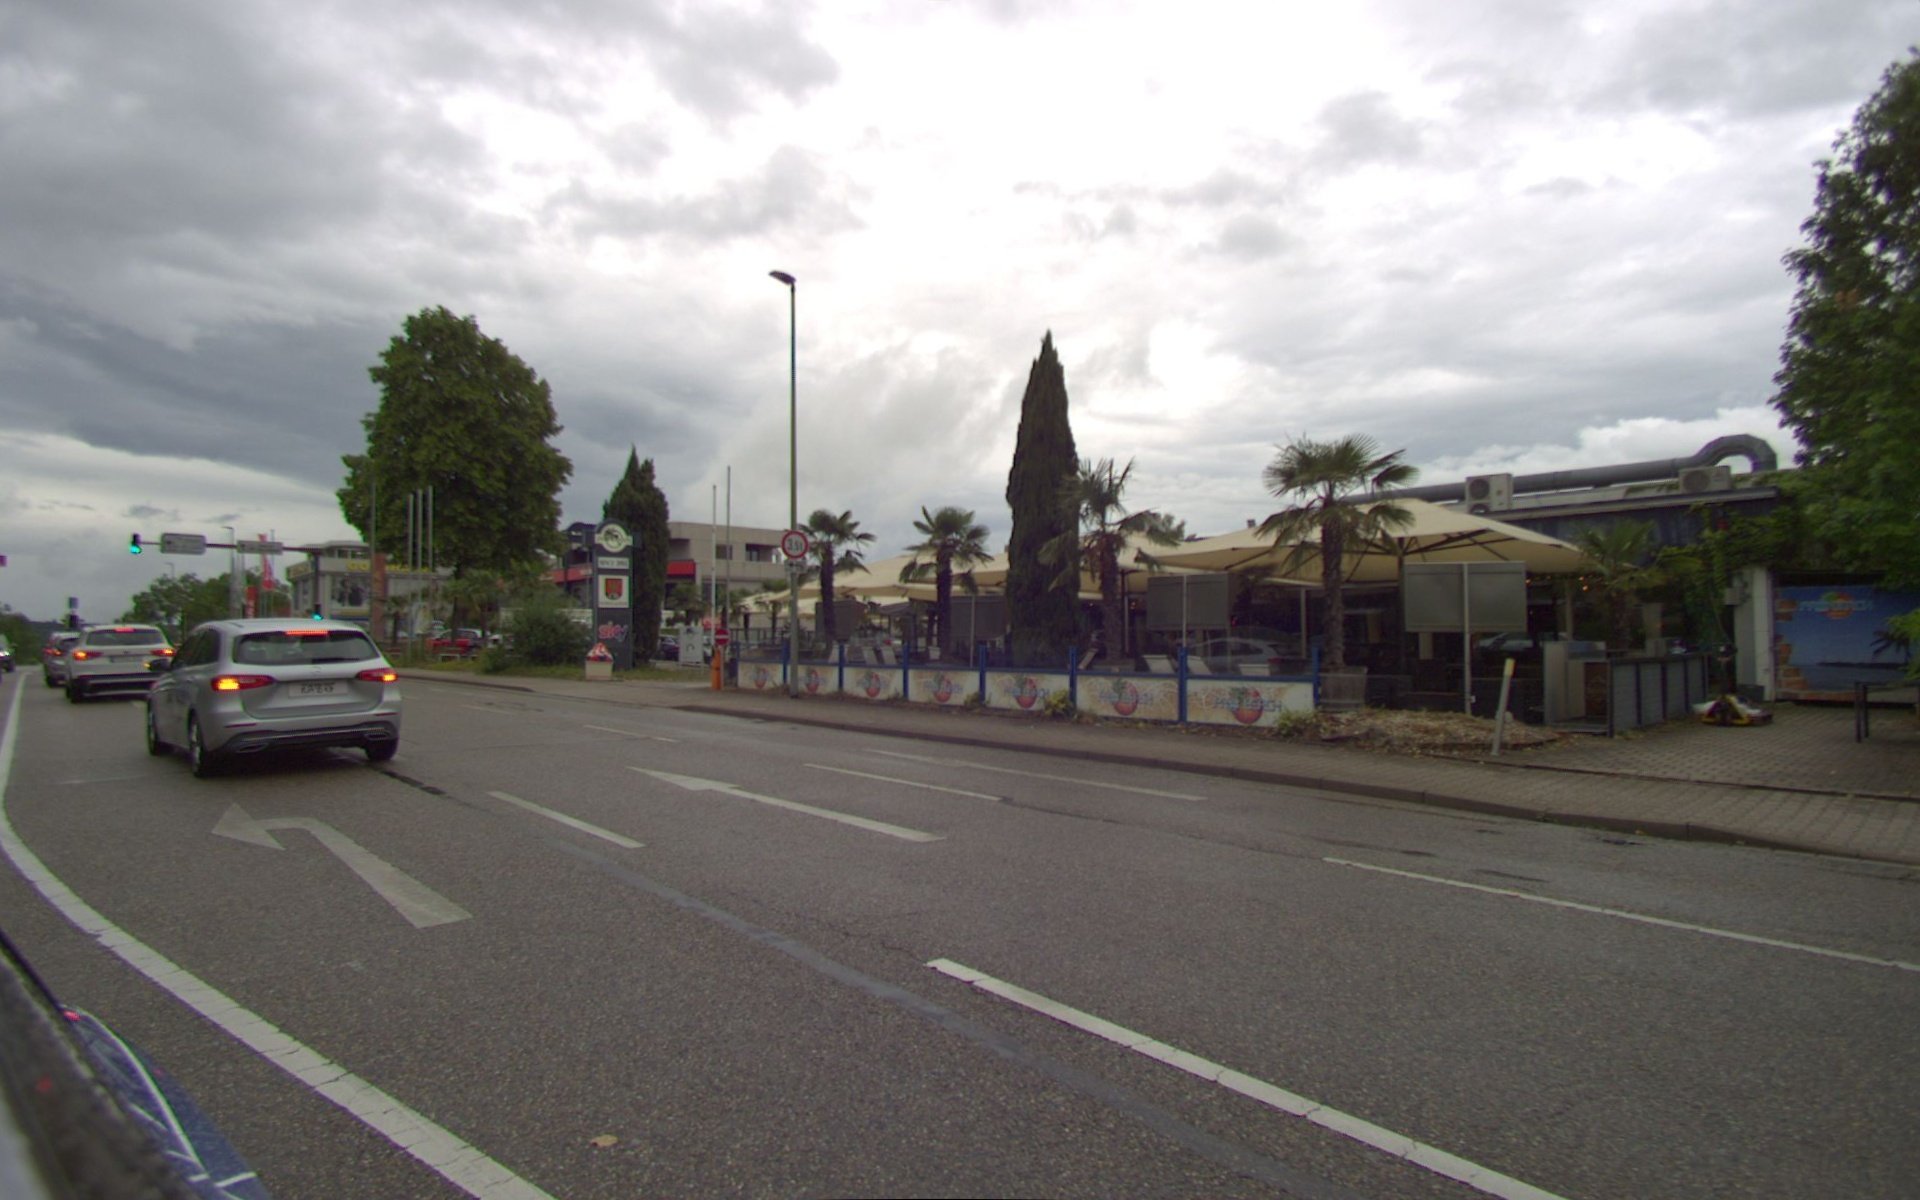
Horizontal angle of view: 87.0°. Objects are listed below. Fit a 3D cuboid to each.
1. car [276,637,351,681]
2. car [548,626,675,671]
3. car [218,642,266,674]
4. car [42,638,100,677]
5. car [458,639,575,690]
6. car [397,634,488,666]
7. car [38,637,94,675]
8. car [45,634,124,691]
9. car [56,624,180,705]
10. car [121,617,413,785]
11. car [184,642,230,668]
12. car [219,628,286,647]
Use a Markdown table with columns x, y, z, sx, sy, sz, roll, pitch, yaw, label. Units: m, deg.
| x | y | z | sx | sy | sz | roll | pitch | yaw | label |
| --- | --- | --- | --- | --- | --- | --- | --- | --- | --- |
| -23.683 | 2.145 | 37.025 | 1.617 | 1.545 | 3.976 | 4 | -4 | -42 | car |
| -12.774 | 1.817 | 37.371 | 1.988 | 1.475 | 4.332 | 1 | -3 | 24 | car |
| -34.711 | 2.771 | 48.864 | 1.616 | 1.489 | 4.052 | 2 | -3 | -39 | car |
| -34.759 | 2.196 | 39.543 | 1.612 | 1.445 | 4.149 | 2 | -3 | -42 | car |
| -18.427 | 2.701 | 42.265 | 1.985 | 2.029 | 4.370 | -1 | -4 | 20 | car |
| -24.781 | 2.405 | 48.588 | 3.558 | 1.515 | 1.669 | 1 | -2 | -13 | car |
| -40.907 | 2.576 | 46.302 | 1.817 | 1.662 | 4.302 | 2 | -4 | -42 | car |
| -24.777 | 1.719 | 28.598 | 1.582 | 1.452 | 3.953 | 0 | -2 | -42 | car |
| -18.441 | 1.329 | 22.105 | 1.766 | 1.593 | 4.242 | 1 | -2 | -44 | car |
| -7.833 | 0.976 | 11.279 | 4.301 | 1.519 | 1.731 | -1 | -3 | 42 | car |
| -43.496 | 3.203 | 58.441 | 1.582 | 1.410 | 4.409 | 4 | -6 | -43 | car |
| -45.824 | 2.436 | 65.599 | 3.346 | 1.176 | 1.455 | 2 | -5 | -44 | car |
